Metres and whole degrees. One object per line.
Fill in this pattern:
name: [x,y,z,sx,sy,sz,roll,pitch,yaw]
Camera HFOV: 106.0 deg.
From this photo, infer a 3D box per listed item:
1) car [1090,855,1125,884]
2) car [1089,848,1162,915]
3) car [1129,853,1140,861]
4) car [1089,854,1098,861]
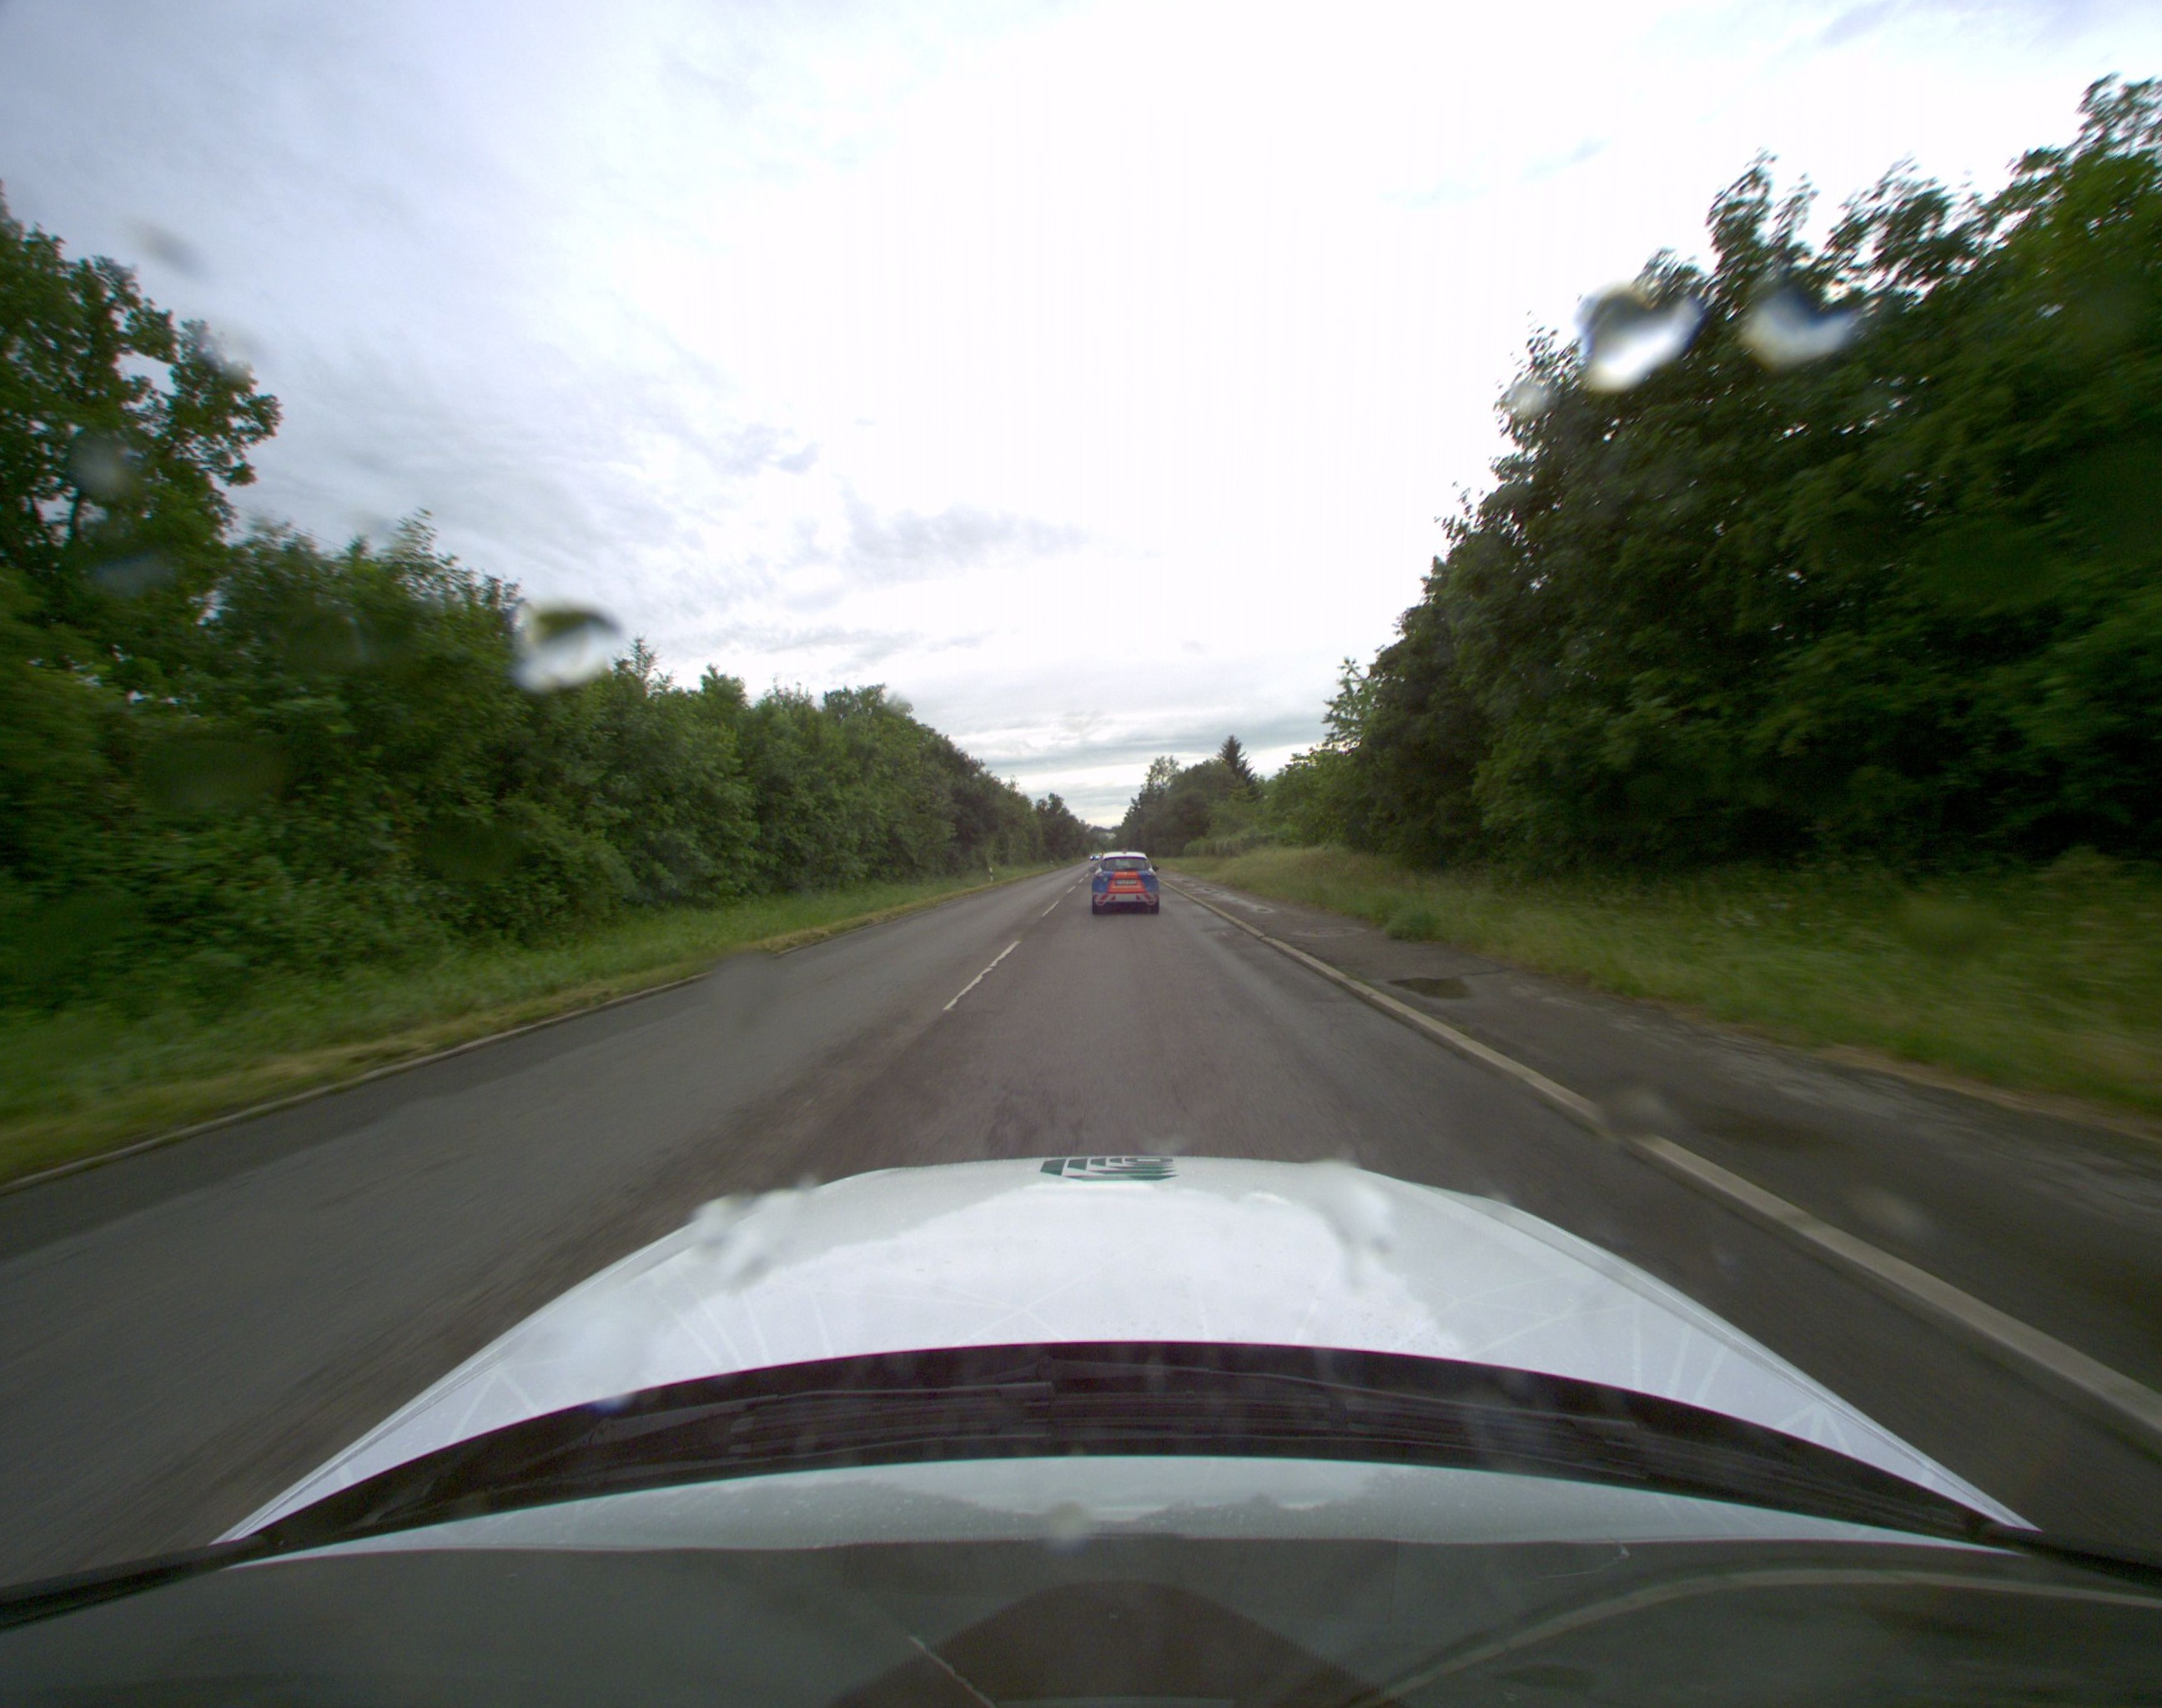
car: [1.345,0.748,40.185,1.592,1.287,3.478,-3,0,3]
car: [1.144,0.656,21.759,1.745,1.555,3.794,-1,1,2]
car: [9.966,0.487,151.903,1.985,1.376,4.003,-3,0,3]
car: [2.947,0.860,191.613,1.898,1.556,4.518,-3,0,2]
